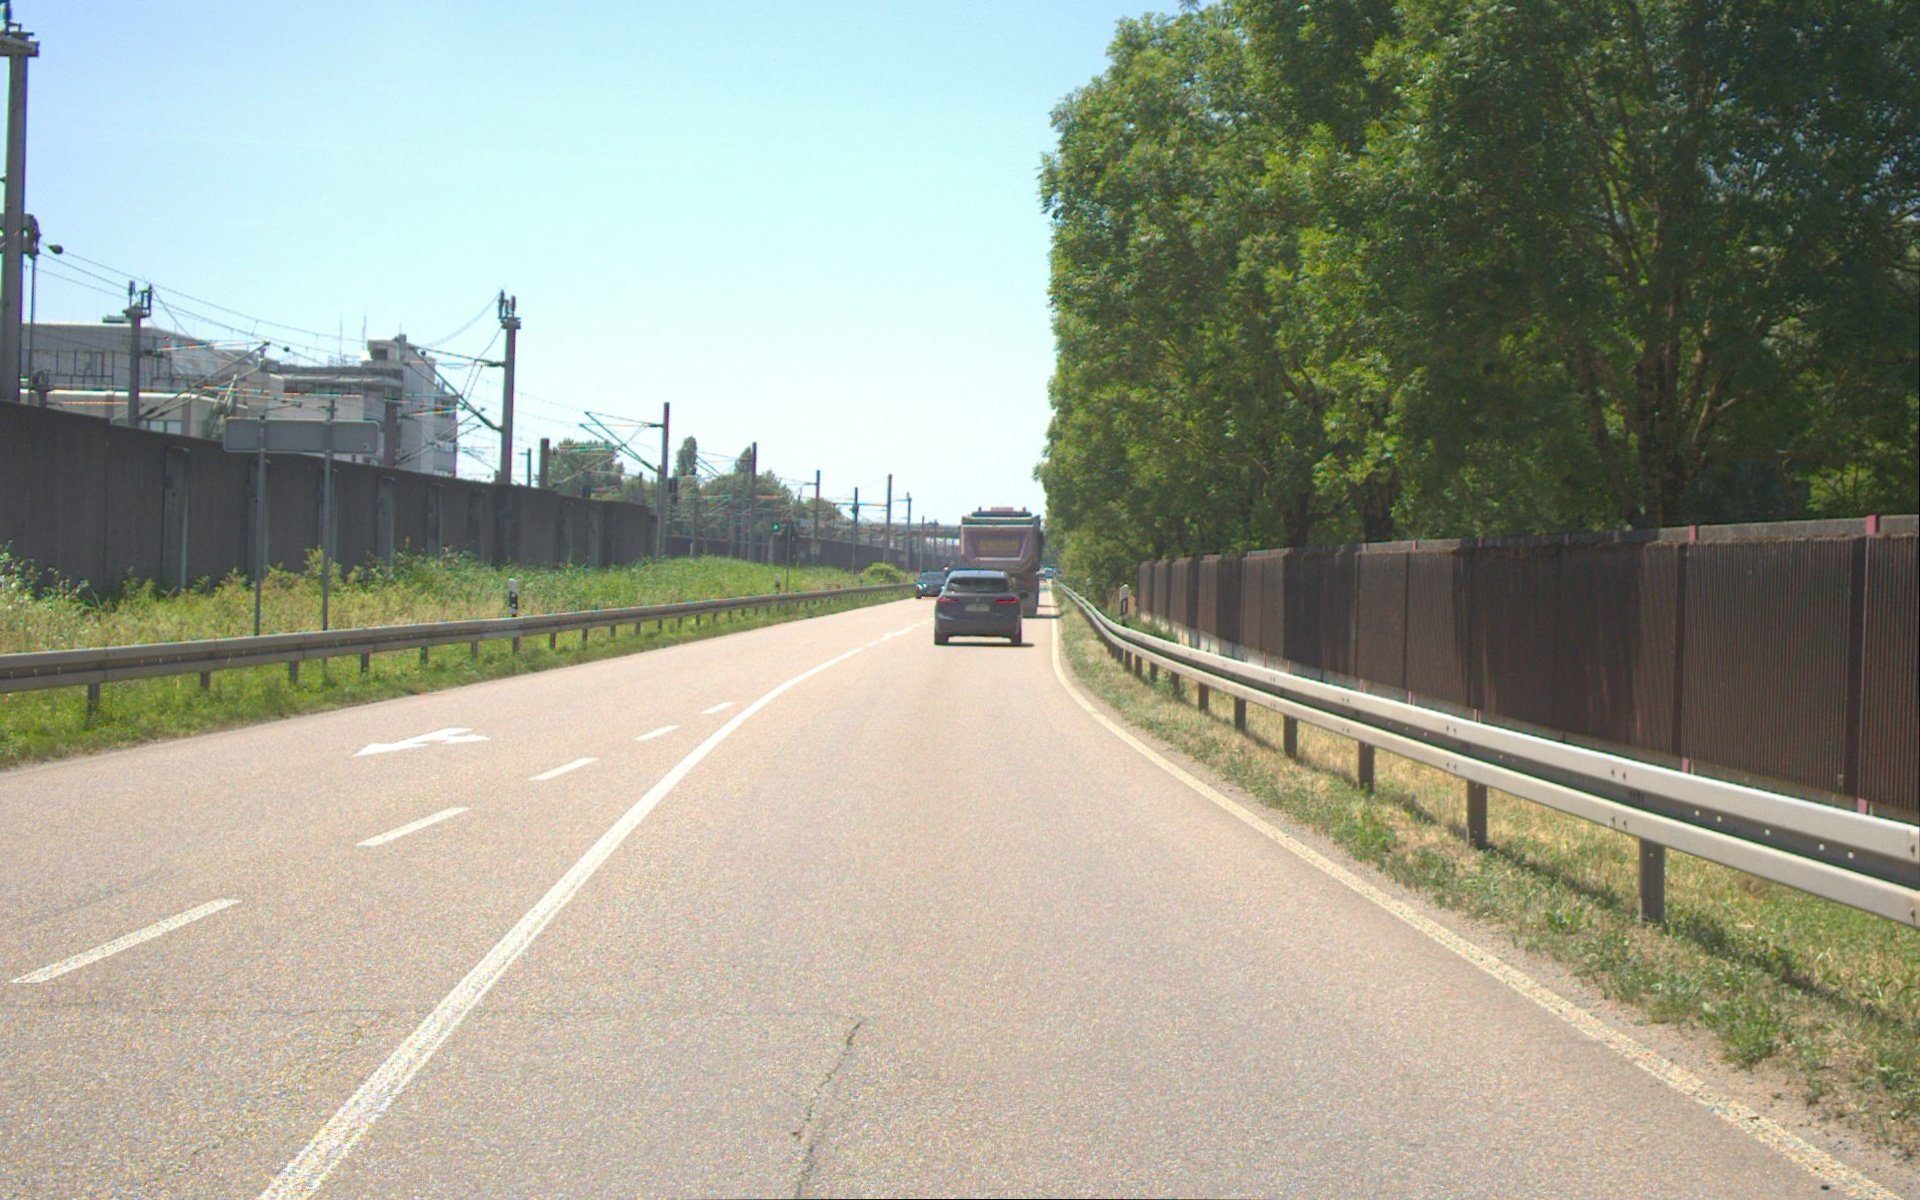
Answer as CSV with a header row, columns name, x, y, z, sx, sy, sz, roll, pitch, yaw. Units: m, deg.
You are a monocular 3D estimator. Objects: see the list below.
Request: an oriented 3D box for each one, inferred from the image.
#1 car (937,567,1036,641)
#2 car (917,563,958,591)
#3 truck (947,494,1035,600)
name,x,y,z,sx,sy,sz,roll,pitch,yaw
car,0.519,0.062,72.361,1.993,1.503,4.000,0,1,-1
car,-1.206,-1.253,187.047,1.994,1.503,4.000,0,1,2
truck,1.132,-1.744,117.240,2.770,3.414,10.819,1,0,1
